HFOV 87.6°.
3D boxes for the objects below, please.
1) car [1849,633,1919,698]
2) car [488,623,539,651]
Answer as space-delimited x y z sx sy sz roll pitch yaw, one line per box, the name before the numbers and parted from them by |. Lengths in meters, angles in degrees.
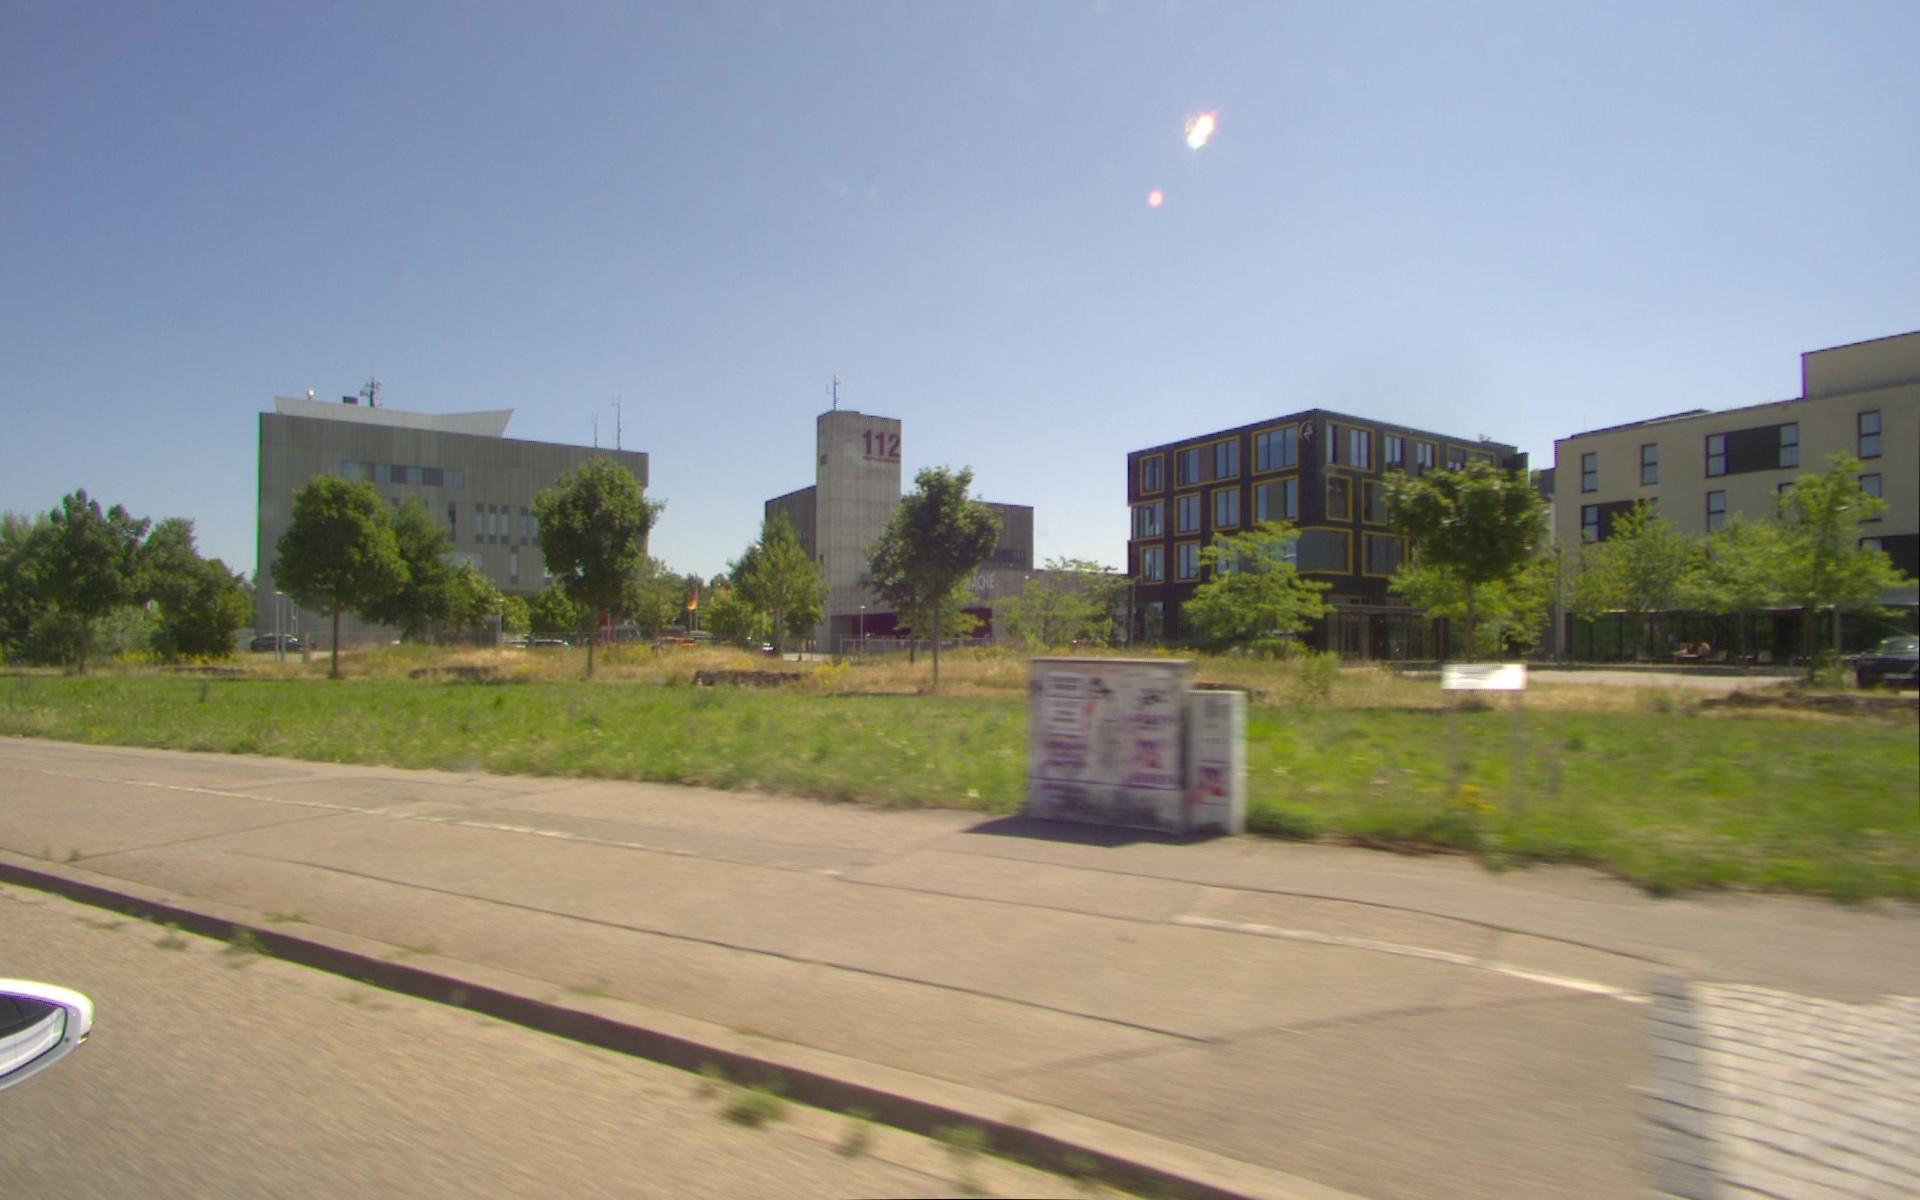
car | 23.225 1.550 24.203 4.080 1.463 1.947 2 -3 -39
car | -38.864 3.226 87.166 3.803 2.323 1.733 1 -2 -32
